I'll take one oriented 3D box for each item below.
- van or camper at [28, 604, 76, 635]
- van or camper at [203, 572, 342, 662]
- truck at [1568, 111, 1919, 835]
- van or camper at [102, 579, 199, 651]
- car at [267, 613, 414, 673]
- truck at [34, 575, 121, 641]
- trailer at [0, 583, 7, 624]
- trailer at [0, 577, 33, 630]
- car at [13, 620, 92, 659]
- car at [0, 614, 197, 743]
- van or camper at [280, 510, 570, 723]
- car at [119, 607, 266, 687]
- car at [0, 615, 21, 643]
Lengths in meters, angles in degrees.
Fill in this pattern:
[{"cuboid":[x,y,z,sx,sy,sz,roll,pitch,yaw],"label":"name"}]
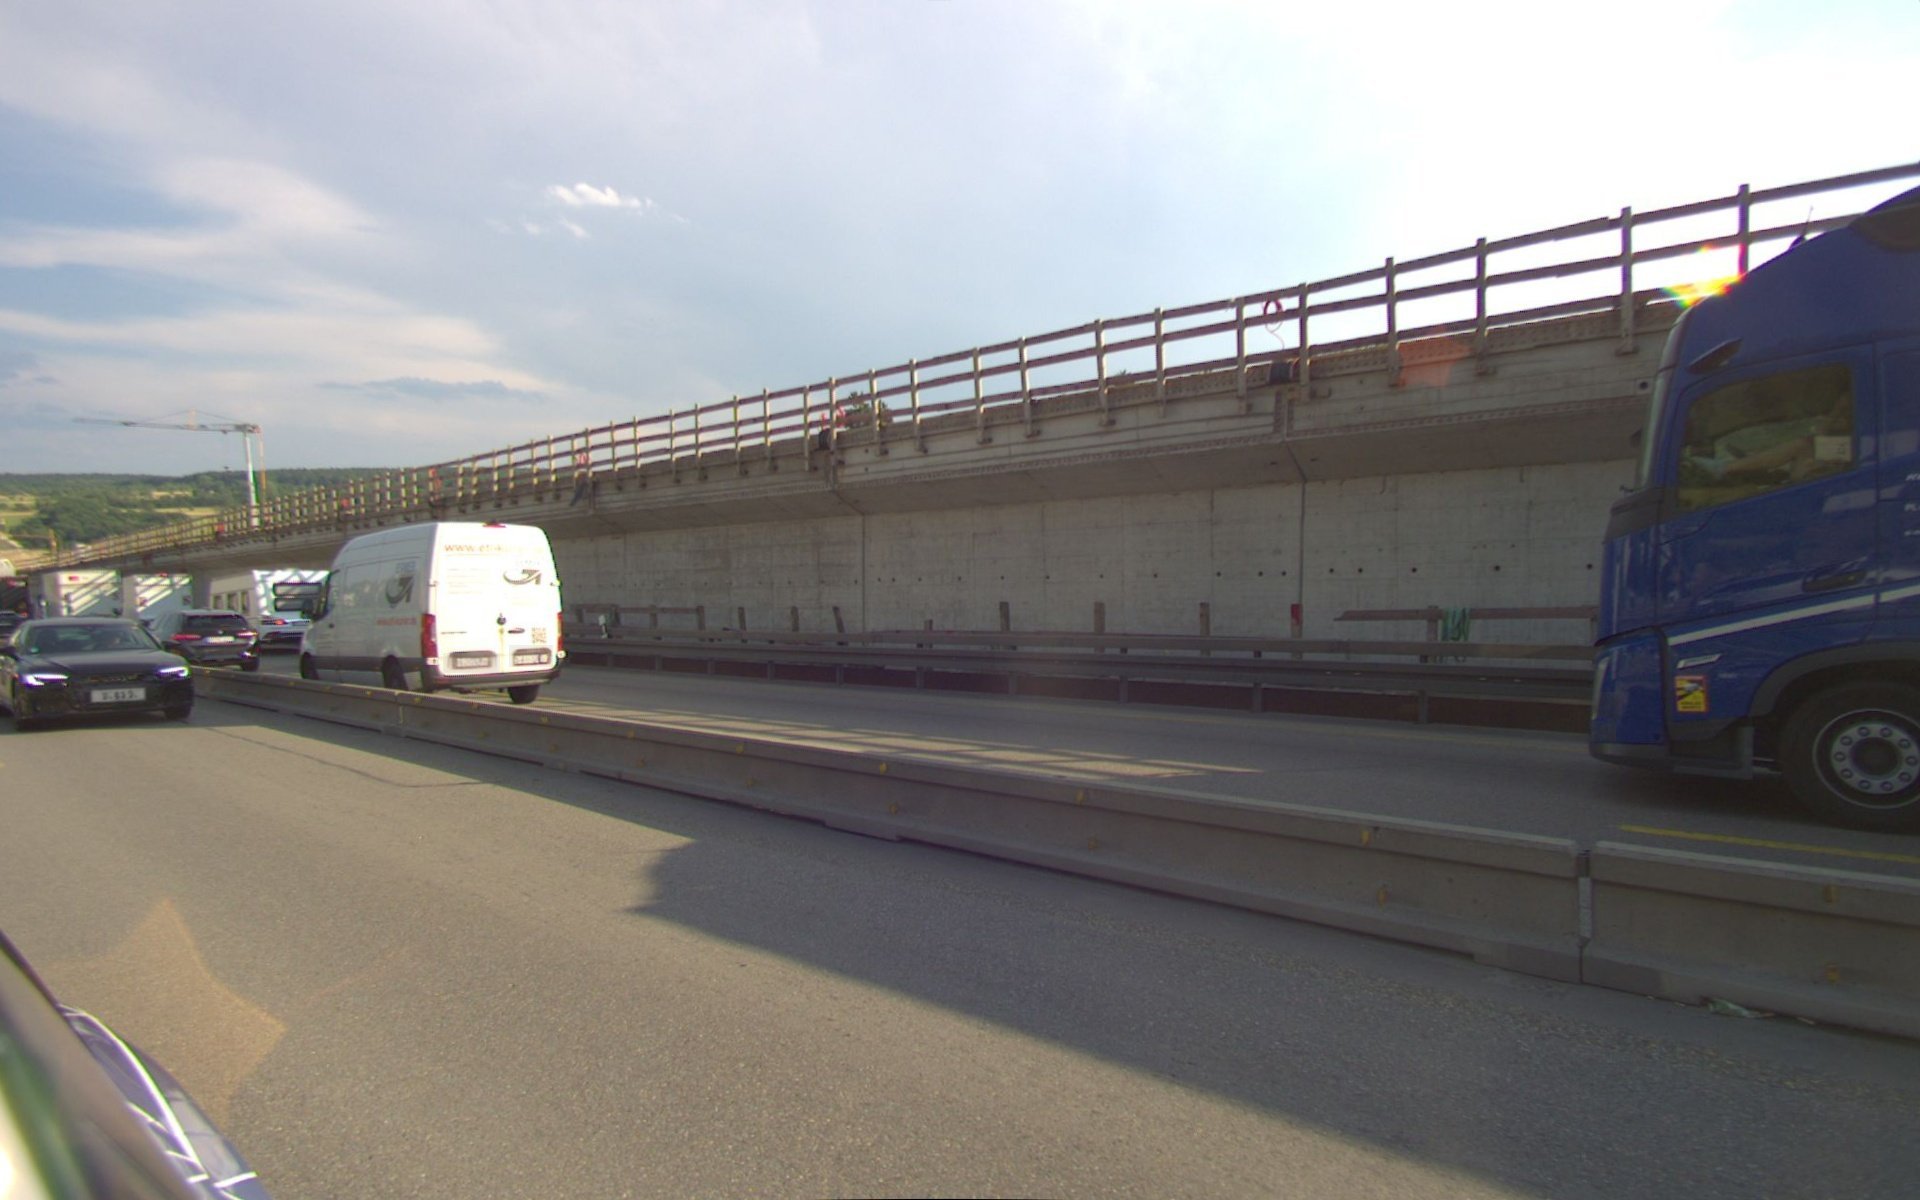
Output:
[{"cuboid":[-61.648,1.283,68.709,4.923,1.936,1.897,-1,3,43],"label":"van or camper"},{"cuboid":[-22.664,0.517,33.223,6.454,2.683,2.287,-1,1,42],"label":"van or camper"},{"cuboid":[8.675,-0.777,4.785,9.620,4.144,2.597,-1,-1,40],"label":"truck"},{"cuboid":[-36.686,0.612,45.805,6.221,3.011,2.296,0,2,41],"label":"van or camper"},{"cuboid":[-16.419,1.080,26.718,4.897,1.432,1.952,-1,-1,41],"label":"car"},{"cuboid":[-49.399,0.373,56.569,8.138,3.450,2.686,0,0,42],"label":"truck"},{"cuboid":[-104.234,0.584,107.760,14.022,4.171,2.736,-1,3,42],"label":"trailer"},{"cuboid":[-83.872,0.275,88.553,13.771,4.270,2.882,0,4,44],"label":"trailer"},{"cuboid":[-35.172,1.491,39.173,4.238,1.335,1.762,-1,1,41],"label":"car"},{"cuboid":[-12.656,0.990,14.576,4.348,1.429,1.848,0,3,43],"label":"car"},{"cuboid":[-8.446,0.254,15.650,5.954,2.727,1.973,-1,-1,41],"label":"van or camper"},{"cuboid":[-18.712,1.051,24.582,4.866,1.605,1.818,0,4,41],"label":"car"},{"cuboid":[-53.316,1.637,55.815,4.457,1.461,1.746,-1,3,42],"label":"car"}]
